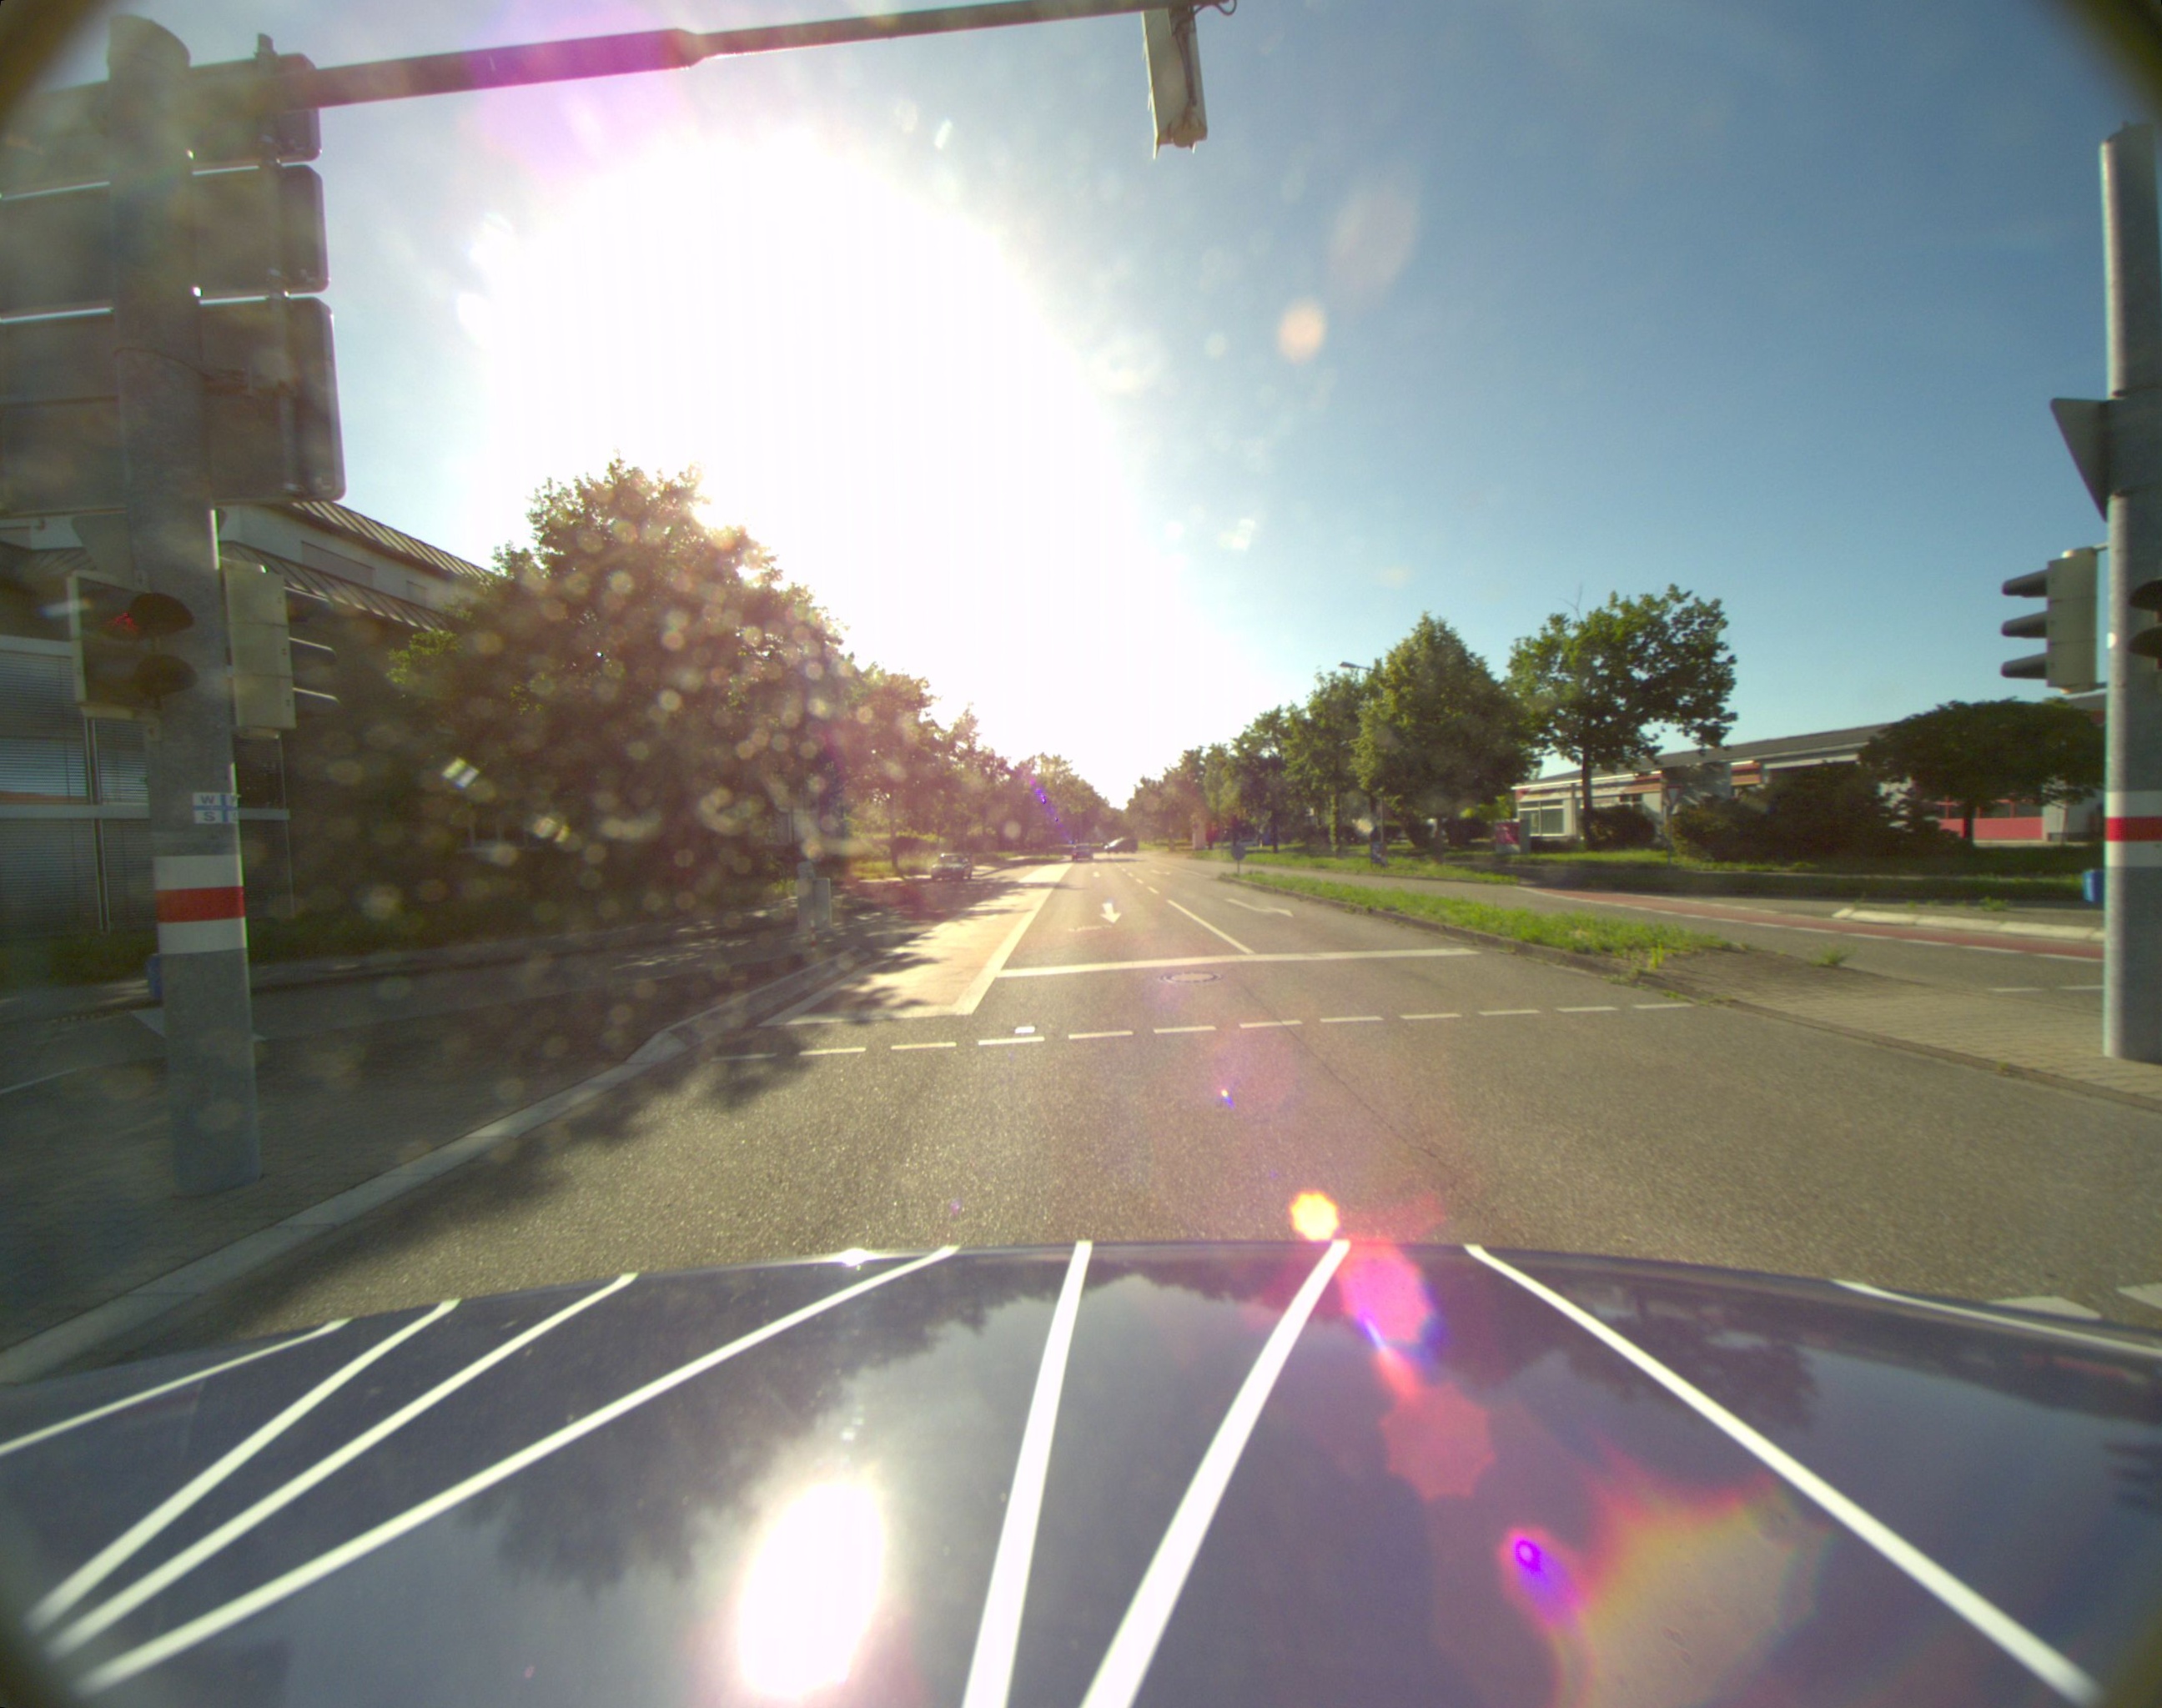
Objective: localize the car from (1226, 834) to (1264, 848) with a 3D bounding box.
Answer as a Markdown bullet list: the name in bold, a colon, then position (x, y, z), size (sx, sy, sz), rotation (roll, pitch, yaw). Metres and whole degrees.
- **car**: position (20.966, -1.659, 97.221), size (4.489, 1.696, 2.000), rotation (-2, 2, 6)

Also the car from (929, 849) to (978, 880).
- **car**: position (-6.787, 0.542, 40.744), size (1.776, 1.477, 4.214), rotation (-1, 1, 1)

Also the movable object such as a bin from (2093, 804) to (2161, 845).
- **movable object such as a bin**: position (34.592, -0.977, 25.041), size (1.130, 1.291, 0.992), rotation (-2, 2, 1)

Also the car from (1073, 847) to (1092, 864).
- **car**: position (0.168, 0.096, 70.842), size (1.776, 1.478, 3.779), rotation (-1, 1, 1)

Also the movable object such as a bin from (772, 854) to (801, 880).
- **movable object such as a bin**: position (-16.086, 0.717, 41.506), size (1.208, 1.333, 0.796), rotation (-2, 2, 1)

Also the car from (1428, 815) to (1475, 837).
- **car**: position (40.031, -3.060, 82.149), size (4.212, 2.204, 1.777), rotation (-2, 2, -2)

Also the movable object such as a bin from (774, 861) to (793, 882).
- **movable object such as a bin**: position (-15.503, 0.914, 39.611), size (0.687, 1.036, 0.695), rotation (-2, 2, 1)

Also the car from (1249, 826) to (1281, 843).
- **car**: position (24.617, -2.627, 101.683), size (3.994, 2.002, 2.001), rotation (-4, 1, 9)

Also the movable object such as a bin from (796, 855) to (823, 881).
- **movable object such as a bin**: position (-14.828, 0.753, 41.472), size (1.089, 1.314, 0.796), rotation (-2, 2, 1)

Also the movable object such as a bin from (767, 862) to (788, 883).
- **movable object such as a bin**: position (-15.526, 0.944, 38.891), size (0.687, 1.036, 0.695), rotation (-4, 2, 1)

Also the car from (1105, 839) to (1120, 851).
- **car**: position (3.983, -1.135, 96.761), size (1.776, 1.477, 4.214), rotation (-1, 1, 1)

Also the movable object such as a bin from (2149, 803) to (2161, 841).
- **movable object such as a bin**: position (36.459, -1.079, 25.024), size (1.130, 1.291, 0.992), rotation (-2, 2, 1)
